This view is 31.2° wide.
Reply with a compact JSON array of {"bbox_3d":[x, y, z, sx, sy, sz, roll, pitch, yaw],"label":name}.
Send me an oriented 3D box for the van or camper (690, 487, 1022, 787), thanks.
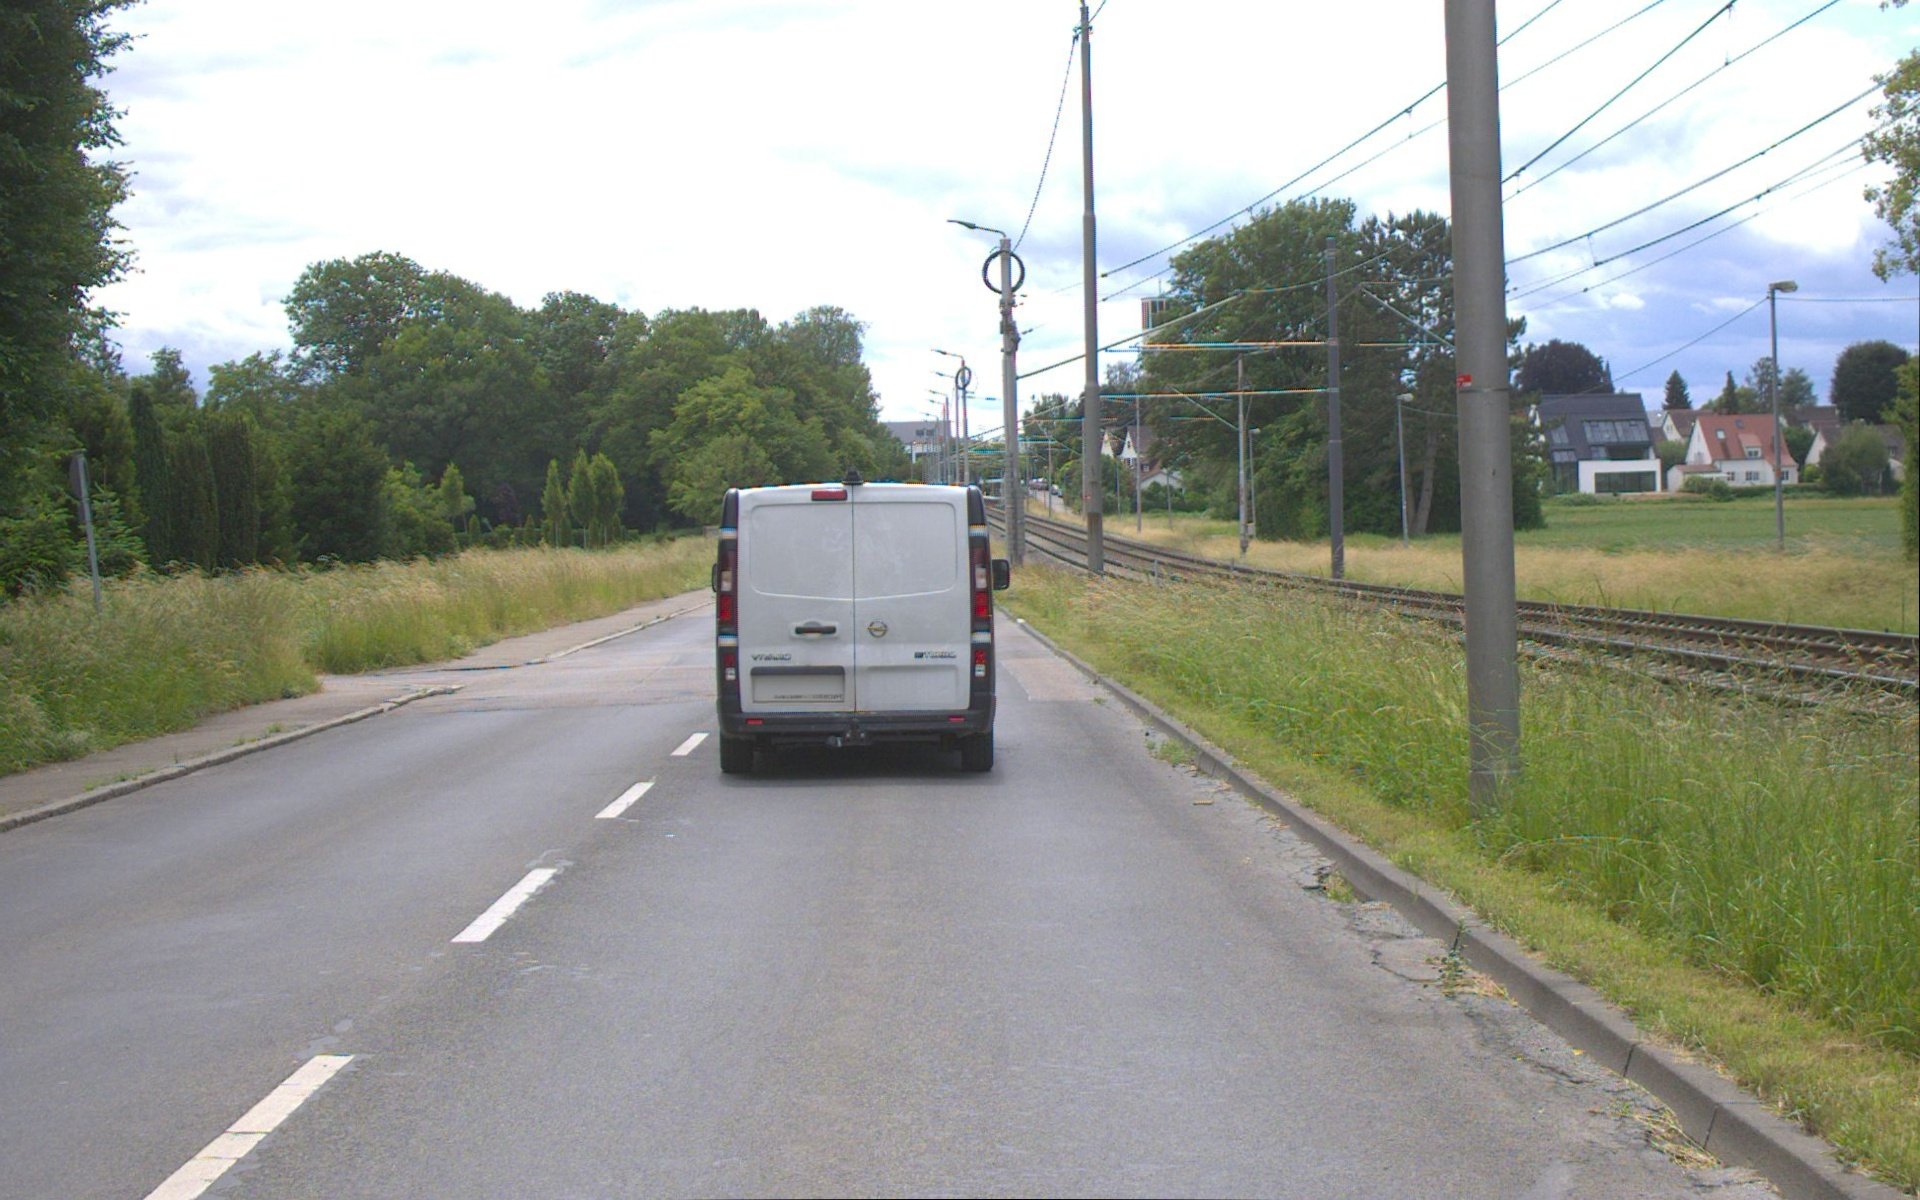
[{"bbox_3d":[-0.639,0.229,24.357,1.942,1.890,4.284,-2,0,3],"label":"van or camper"}]
